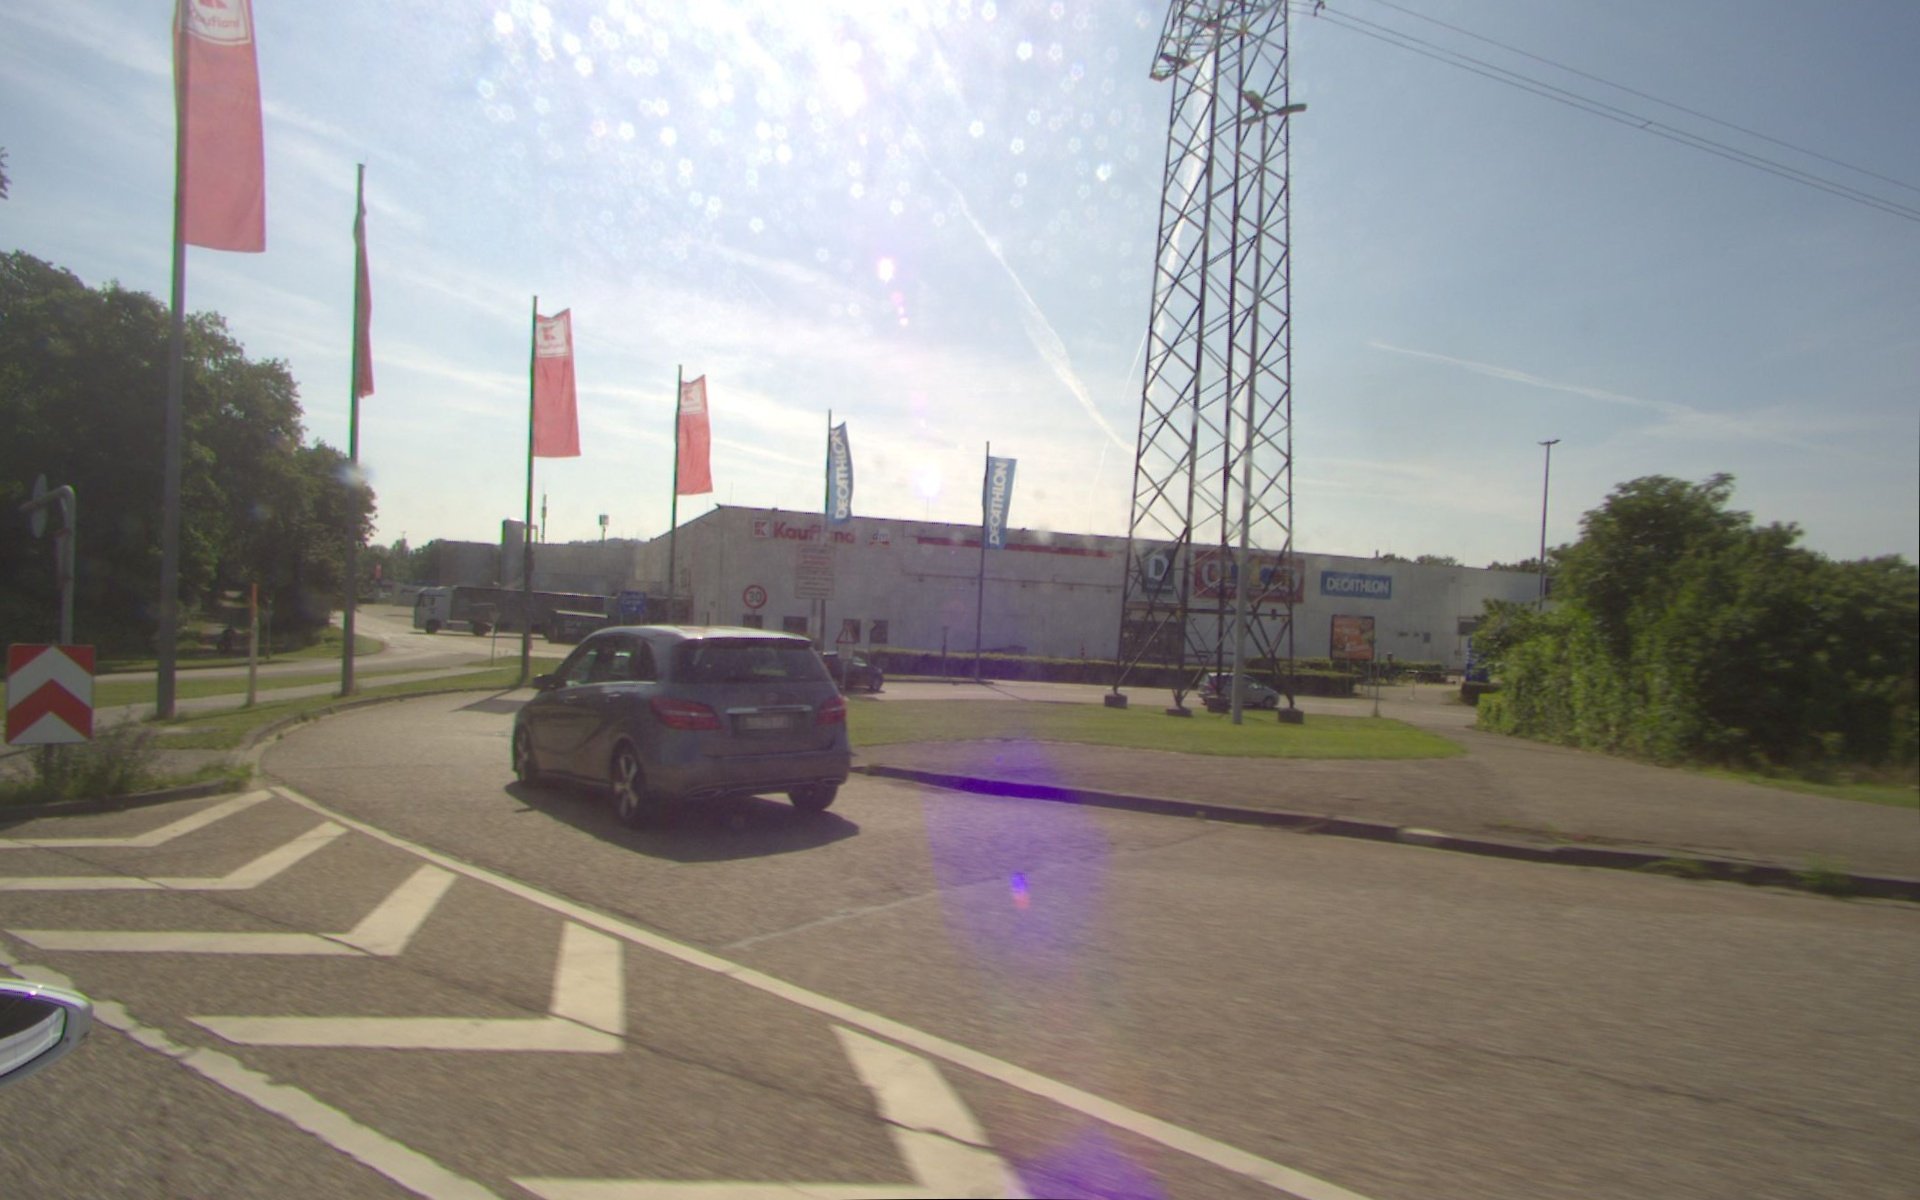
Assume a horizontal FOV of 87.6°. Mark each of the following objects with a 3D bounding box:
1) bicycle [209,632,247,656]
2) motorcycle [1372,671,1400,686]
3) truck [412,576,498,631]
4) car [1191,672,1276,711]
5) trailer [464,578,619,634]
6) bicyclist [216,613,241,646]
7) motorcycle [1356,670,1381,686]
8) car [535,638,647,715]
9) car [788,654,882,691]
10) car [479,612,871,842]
[{"bbox_3d":[-35.567,2.130,48.649,2.153,0.991,0.723,3,1,31],"label":"bicycle"},{"bbox_3d":[26.723,4.916,62.827,0.429,0.824,1.692,2,0,-29],"label":"motorcycle"},{"bbox_3d":[-43.675,0.314,86.826,6.467,4.475,3.740,2,0,-26],"label":"truck"},{"bbox_3d":[12.810,4.281,47.033,3.425,1.502,1.624,5,-2,-5],"label":"car"},{"bbox_3d":[-37.494,0.565,89.923,12.522,4.475,3.740,2,0,-26],"label":"trailer"},{"bbox_3d":[-35.505,1.428,48.620,0.833,1.554,0.674,3,1,30],"label":"bicyclist"},{"bbox_3d":[25.471,4.866,62.467,0.382,0.824,1.697,2,0,-20],"label":"motorcycle"},{"bbox_3d":[-8.569,1.766,23.598,1.829,1.547,4.143,4,-4,-12],"label":"car"},{"bbox_3d":[-4.994,2.887,40.365,1.754,1.348,3.723,1,-3,32],"label":"car"},{"bbox_3d":[-2.734,0.952,8.952,1.843,1.548,4.110,3,-3,-40],"label":"car"}]
